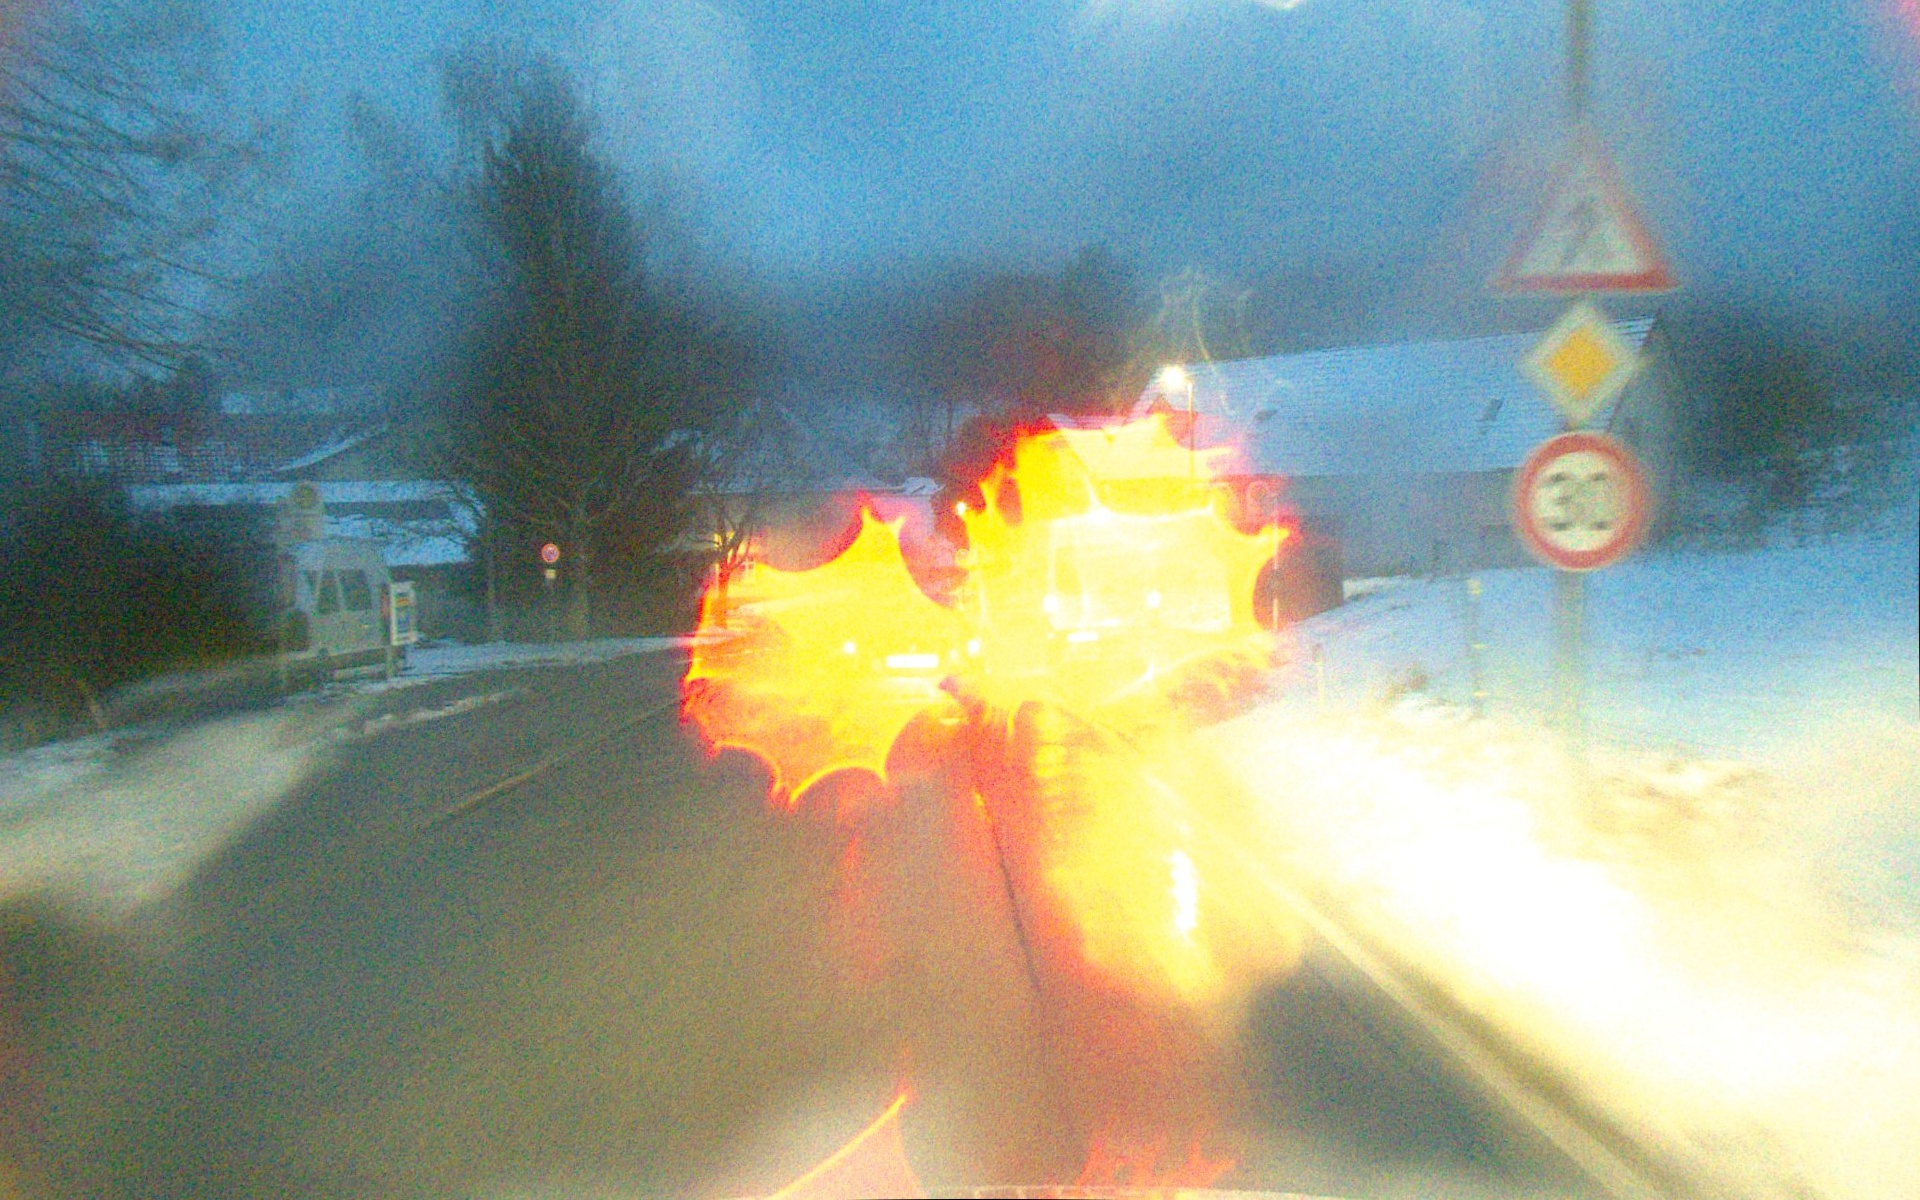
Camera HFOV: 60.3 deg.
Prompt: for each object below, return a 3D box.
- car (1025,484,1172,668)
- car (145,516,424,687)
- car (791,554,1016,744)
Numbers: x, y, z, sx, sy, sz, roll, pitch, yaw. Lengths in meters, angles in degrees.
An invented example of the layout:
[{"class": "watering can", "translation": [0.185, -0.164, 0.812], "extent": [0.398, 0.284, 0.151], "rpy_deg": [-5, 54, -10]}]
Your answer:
[{"class": "car", "translation": [2.429, -0.369, 30.468], "extent": [2.385, 3.071, 5.326], "rpy_deg": [-1, -1, 2]}, {"class": "car", "translation": [-11.387, -0.037, 28.545], "extent": [2.420, 2.616, 6.226], "rpy_deg": [0, 1, -2]}, {"class": "car", "translation": [-0.641, 0.493, 18.986], "extent": [2.228, 1.873, 5.004], "rpy_deg": [0, 0, -2]}]
